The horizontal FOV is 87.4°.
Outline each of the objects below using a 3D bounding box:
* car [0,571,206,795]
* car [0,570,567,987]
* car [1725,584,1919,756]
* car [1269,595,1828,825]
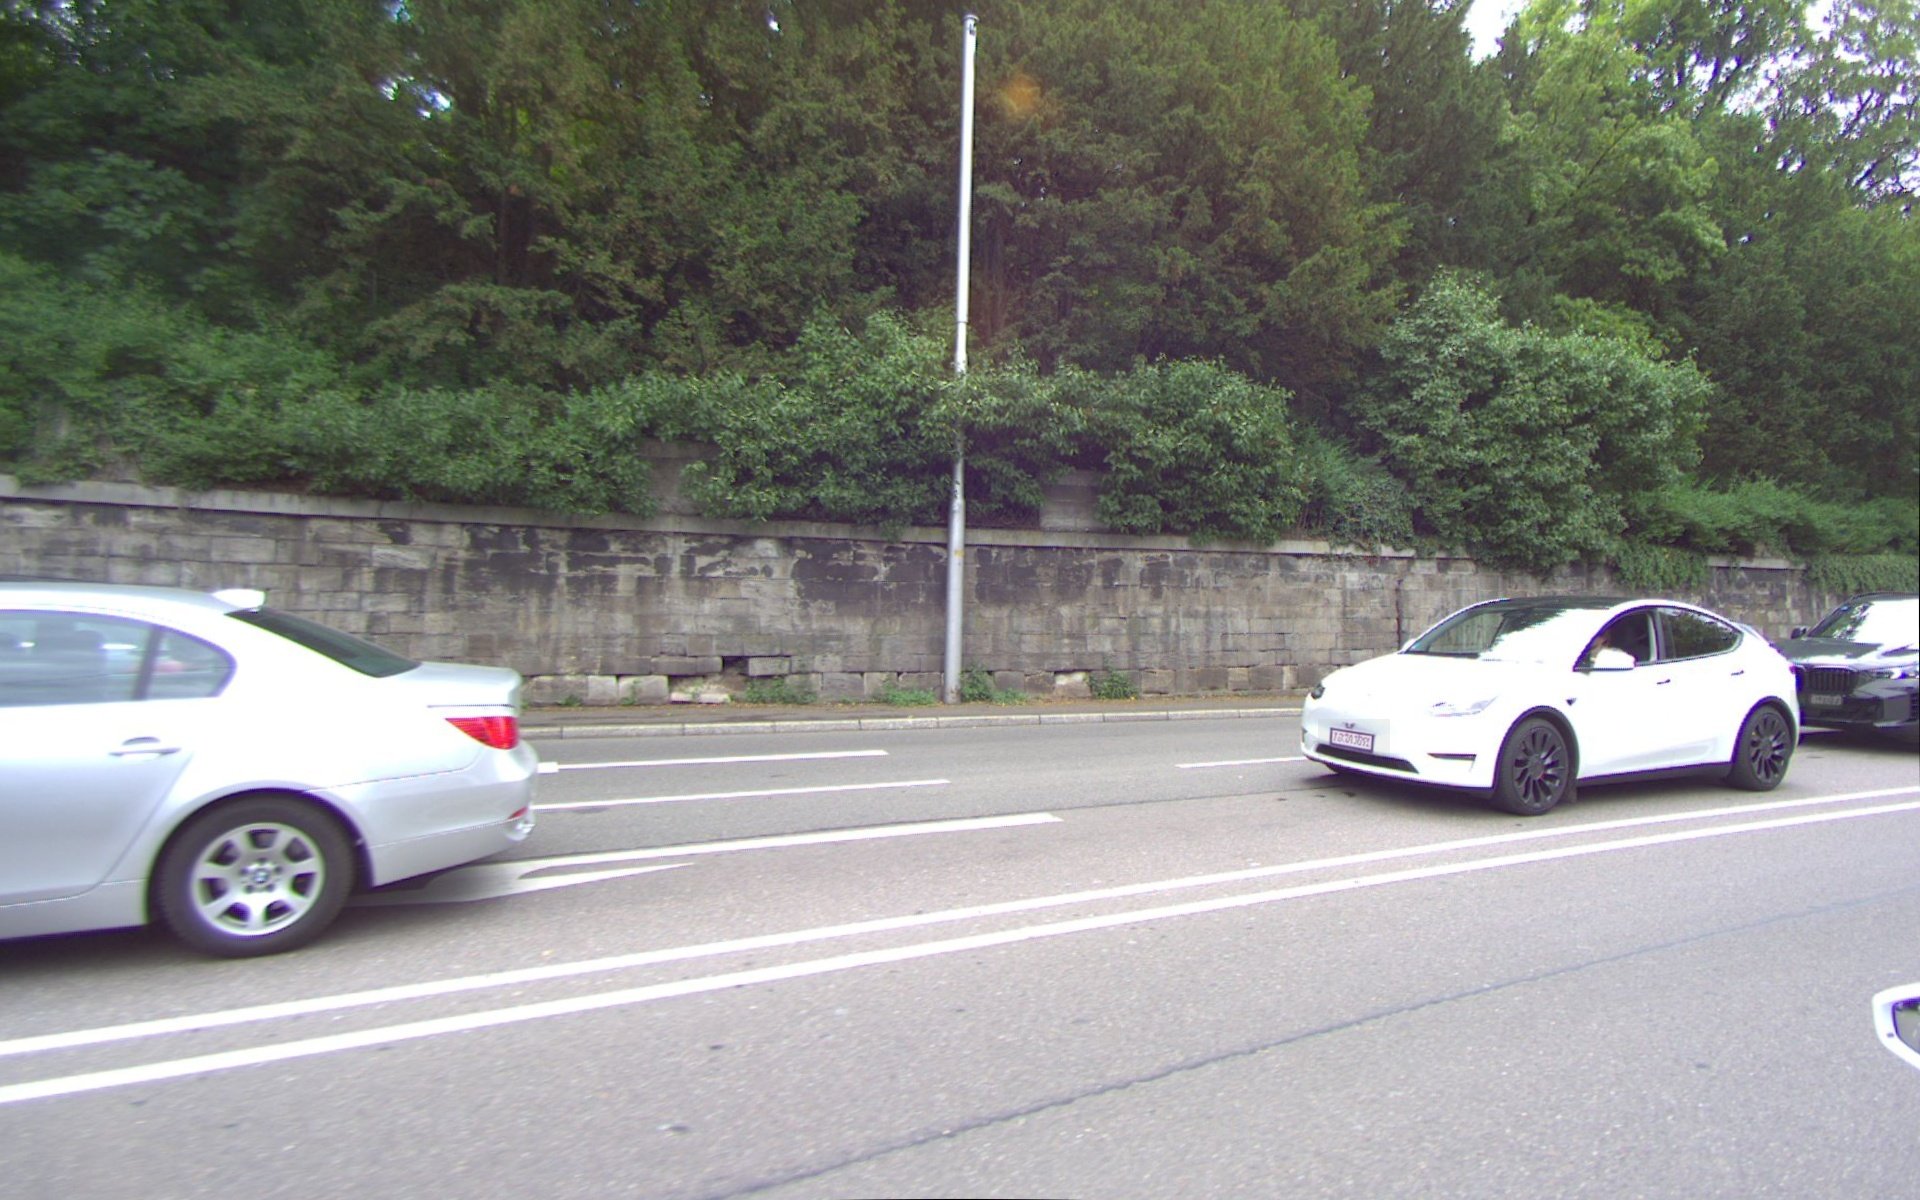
[{"bbox_3d":[-7.635,0.519,6.730,4.007,1.471,1.722,0,1,-34],"label":"car"},{"bbox_3d":[-4.339,0.650,4.230,4.817,1.489,1.985,1,-1,-29],"label":"car"},{"bbox_3d":[11.742,0.766,12.133,4.810,1.773,1.955,1,-1,-24],"label":"car"},{"bbox_3d":[5.153,0.772,8.724,4.723,1.575,1.832,1,0,-25],"label":"car"}]
